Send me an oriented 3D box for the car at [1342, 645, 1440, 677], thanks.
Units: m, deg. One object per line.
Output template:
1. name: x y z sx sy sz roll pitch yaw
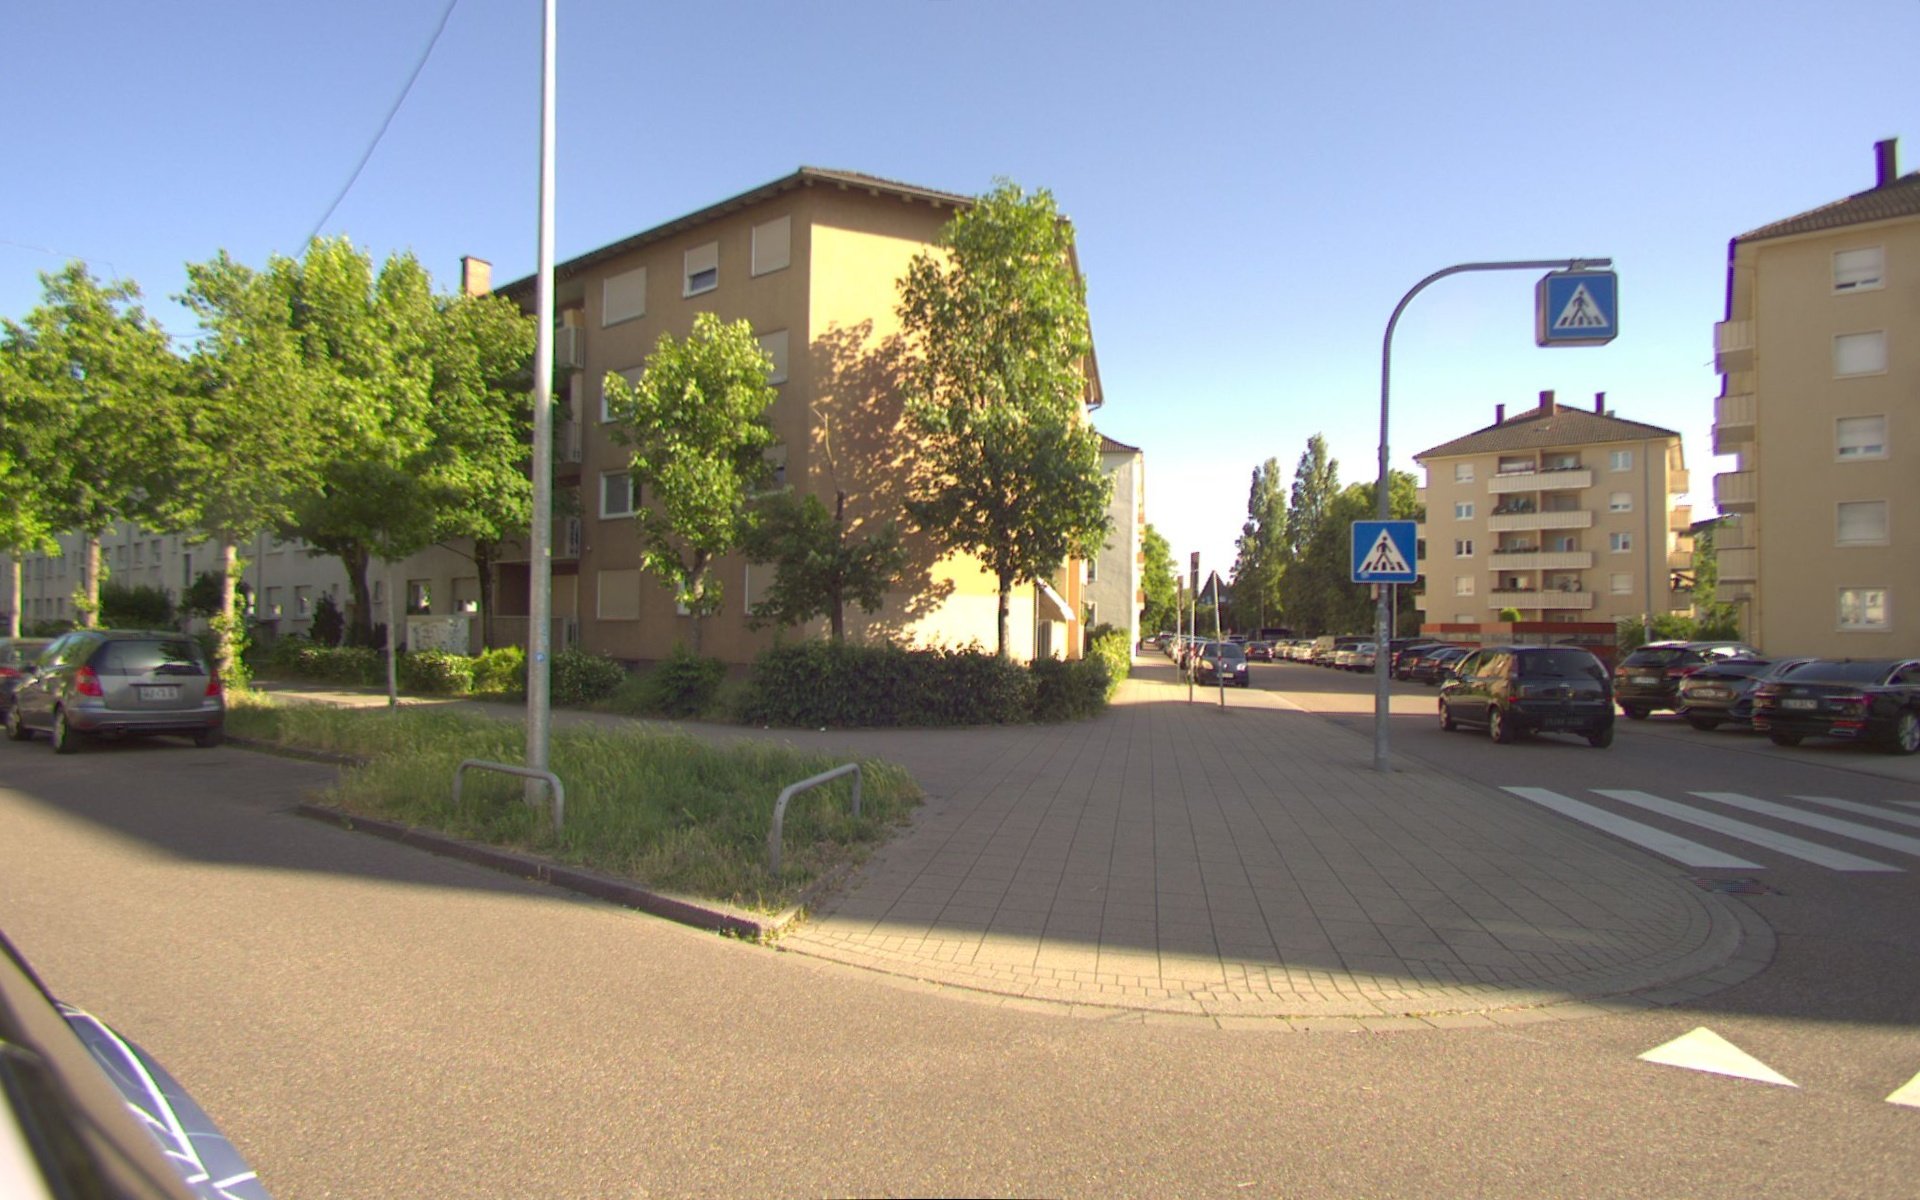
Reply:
1. car: 21.089 2.967 49.553 3.935 1.408 2.004 0 0 -9

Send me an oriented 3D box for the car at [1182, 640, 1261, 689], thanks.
1. car: 8.870 2.155 34.636 1.884 1.526 3.995 1 -2 4

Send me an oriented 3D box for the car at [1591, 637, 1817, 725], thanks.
1. car: 15.916 1.673 21.687 3.931 1.664 2.006 0 -3 -20

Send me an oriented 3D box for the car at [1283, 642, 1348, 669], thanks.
1. car: 25.193 3.929 71.823 3.947 1.852 1.998 0 0 3

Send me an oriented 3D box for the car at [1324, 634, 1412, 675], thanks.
1. car: 22.063 2.925 54.788 3.937 2.029 2.003 0 0 -8

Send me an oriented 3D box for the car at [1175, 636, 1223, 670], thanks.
1. car: 11.899 2.639 50.613 1.977 1.475 3.989 -2 -1 9

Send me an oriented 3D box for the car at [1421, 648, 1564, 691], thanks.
1. car: 18.324 2.376 34.903 3.935 1.320 2.004 0 -1 -10

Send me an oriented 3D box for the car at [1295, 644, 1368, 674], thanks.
1. car: 24.020 3.795 65.546 3.947 1.852 1.998 0 0 3

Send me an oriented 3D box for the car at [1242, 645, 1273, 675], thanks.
1. car: 20.706 4.153 70.356 1.983 1.851 3.978 0 0 17

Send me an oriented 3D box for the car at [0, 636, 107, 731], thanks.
1. car: -16.559 1.387 17.670 4.084 1.405 1.645 0 0 36

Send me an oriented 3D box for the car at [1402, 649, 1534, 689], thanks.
1. car: 18.831 2.531 37.611 3.935 1.320 2.004 0 -1 -10

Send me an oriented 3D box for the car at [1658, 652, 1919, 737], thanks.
1. car: 15.746 1.724 18.985 4.486 1.442 2.006 2 -3 -18

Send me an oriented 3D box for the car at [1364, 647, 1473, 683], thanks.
1. car: 19.954 2.803 44.096 3.932 1.264 2.006 -2 0 -15

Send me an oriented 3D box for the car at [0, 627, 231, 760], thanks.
1. car: -12.055 1.211 14.232 4.100 1.574 1.704 0 -3 37

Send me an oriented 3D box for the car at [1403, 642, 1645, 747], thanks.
1. car: 9.354 1.502 17.225 1.718 1.542 4.114 0 -2 -1

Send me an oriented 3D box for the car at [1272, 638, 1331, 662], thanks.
1. car: 26.879 3.929 79.795 3.947 1.852 1.998 0 0 3

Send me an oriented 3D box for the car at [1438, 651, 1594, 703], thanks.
1. car: 17.438 2.385 31.815 3.933 1.412 2.005 0 0 -13

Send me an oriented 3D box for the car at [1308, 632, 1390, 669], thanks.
1. car: 22.559 2.920 58.787 3.935 2.029 2.004 0 0 -10

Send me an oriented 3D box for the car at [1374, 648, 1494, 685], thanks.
1. car: 19.181 2.669 41.023 3.935 1.320 2.004 0 -1 -10

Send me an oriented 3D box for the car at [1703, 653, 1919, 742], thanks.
1. car: 14.542 1.483 16.170 4.486 1.176 2.006 0 -3 -18

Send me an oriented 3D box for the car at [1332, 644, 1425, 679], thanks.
1. car: 21.559 3.147 52.245 3.941 1.652 2.001 0 0 -3
